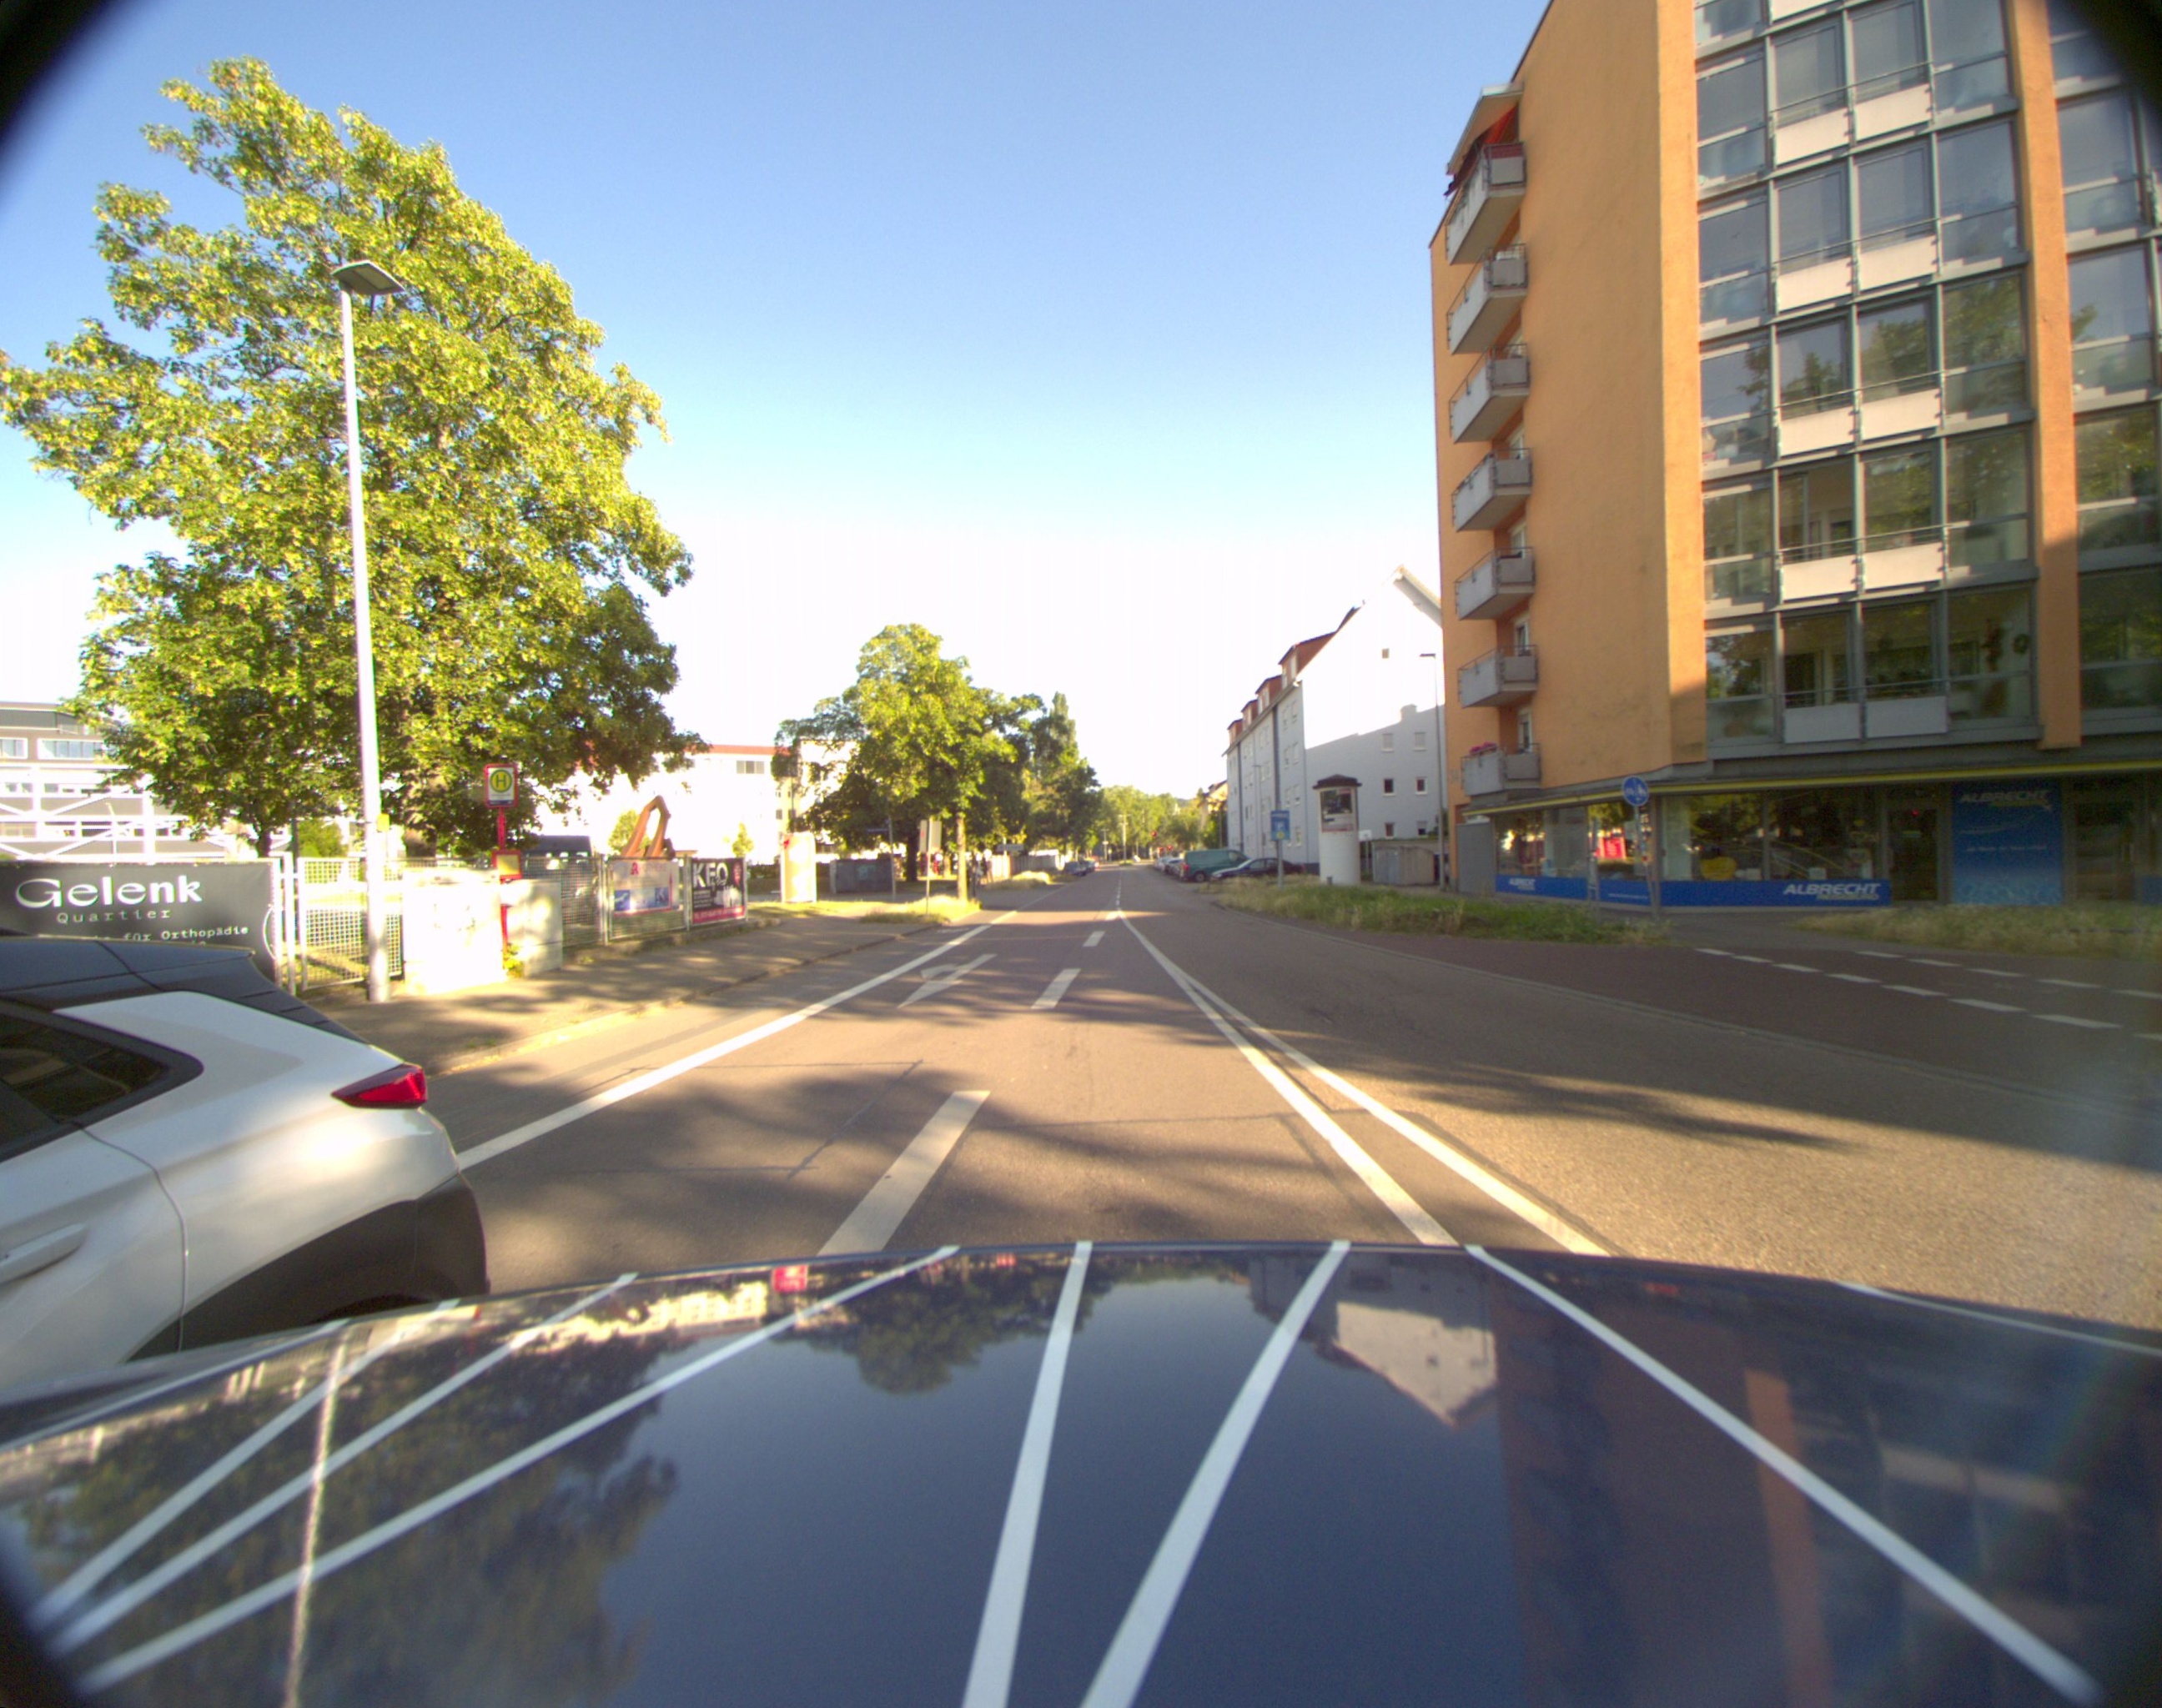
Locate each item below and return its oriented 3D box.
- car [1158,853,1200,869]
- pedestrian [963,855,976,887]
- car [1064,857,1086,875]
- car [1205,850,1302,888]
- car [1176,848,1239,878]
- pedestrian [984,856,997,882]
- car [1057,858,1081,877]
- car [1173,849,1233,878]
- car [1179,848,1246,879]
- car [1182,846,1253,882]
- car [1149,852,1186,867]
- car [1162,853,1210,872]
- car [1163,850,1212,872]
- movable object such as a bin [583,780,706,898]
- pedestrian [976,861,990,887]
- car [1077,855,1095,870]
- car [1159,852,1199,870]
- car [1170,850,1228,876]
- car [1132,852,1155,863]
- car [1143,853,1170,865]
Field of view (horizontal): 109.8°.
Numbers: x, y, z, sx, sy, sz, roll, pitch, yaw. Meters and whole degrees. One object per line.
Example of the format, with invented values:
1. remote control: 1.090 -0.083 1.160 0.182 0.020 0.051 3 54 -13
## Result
1. car: 10.298 0.742 79.933 4.257 1.564 1.867 -2 1 5
2. pedestrian: -6.292 0.955 42.997 0.609 1.727 0.638 -2 1 -5
3. car: -0.596 1.137 73.944 1.998 1.521 3.999 -2 1 1
4. car: 8.291 0.723 36.876 4.423 1.652 2.001 -2 1 9
5. car: 8.493 0.577 51.344 3.995 1.805 2.000 -2 1 5
6. pedestrian: -5.877 0.953 49.271 0.695 1.659 0.639 -2 1 3
7. car: -1.098 1.205 69.597 1.998 1.521 3.999 -2 1 1
8. car: 8.563 0.657 53.695 4.059 1.805 1.937 -2 1 5
9. car: 8.349 0.613 48.588 3.995 1.805 2.000 -2 1 5
10. car: 8.187 0.584 45.940 3.996 1.936 2.000 -2 1 4
11. car: 10.213 0.630 90.191 4.257 1.564 1.867 -2 1 5
12. car: 9.560 0.761 69.376 4.257 1.564 1.867 -2 1 5
13. car: 9.266 0.596 66.489 4.117 1.762 1.757 -2 1 5
14. movable object such as a bin: -22.235 -0.711 38.549 3.986 5.447 6.016 -3 1 -42
15. pedestrian: -5.508 1.108 42.600 0.609 1.426 0.639 -2 1 1
16. car: 0.559 0.935 87.977 1.998 1.521 3.999 -2 1 1
17. car: 10.251 0.711 80.068 4.071 1.741 1.899 -2 1 5
18. car: 8.740 0.652 56.439 4.071 1.741 1.899 -2 1 5
19. car: 9.691 0.570 118.224 3.538 1.564 1.867 -2 1 5
20. car: 10.456 0.686 105.244 3.538 1.564 1.867 -2 1 5
